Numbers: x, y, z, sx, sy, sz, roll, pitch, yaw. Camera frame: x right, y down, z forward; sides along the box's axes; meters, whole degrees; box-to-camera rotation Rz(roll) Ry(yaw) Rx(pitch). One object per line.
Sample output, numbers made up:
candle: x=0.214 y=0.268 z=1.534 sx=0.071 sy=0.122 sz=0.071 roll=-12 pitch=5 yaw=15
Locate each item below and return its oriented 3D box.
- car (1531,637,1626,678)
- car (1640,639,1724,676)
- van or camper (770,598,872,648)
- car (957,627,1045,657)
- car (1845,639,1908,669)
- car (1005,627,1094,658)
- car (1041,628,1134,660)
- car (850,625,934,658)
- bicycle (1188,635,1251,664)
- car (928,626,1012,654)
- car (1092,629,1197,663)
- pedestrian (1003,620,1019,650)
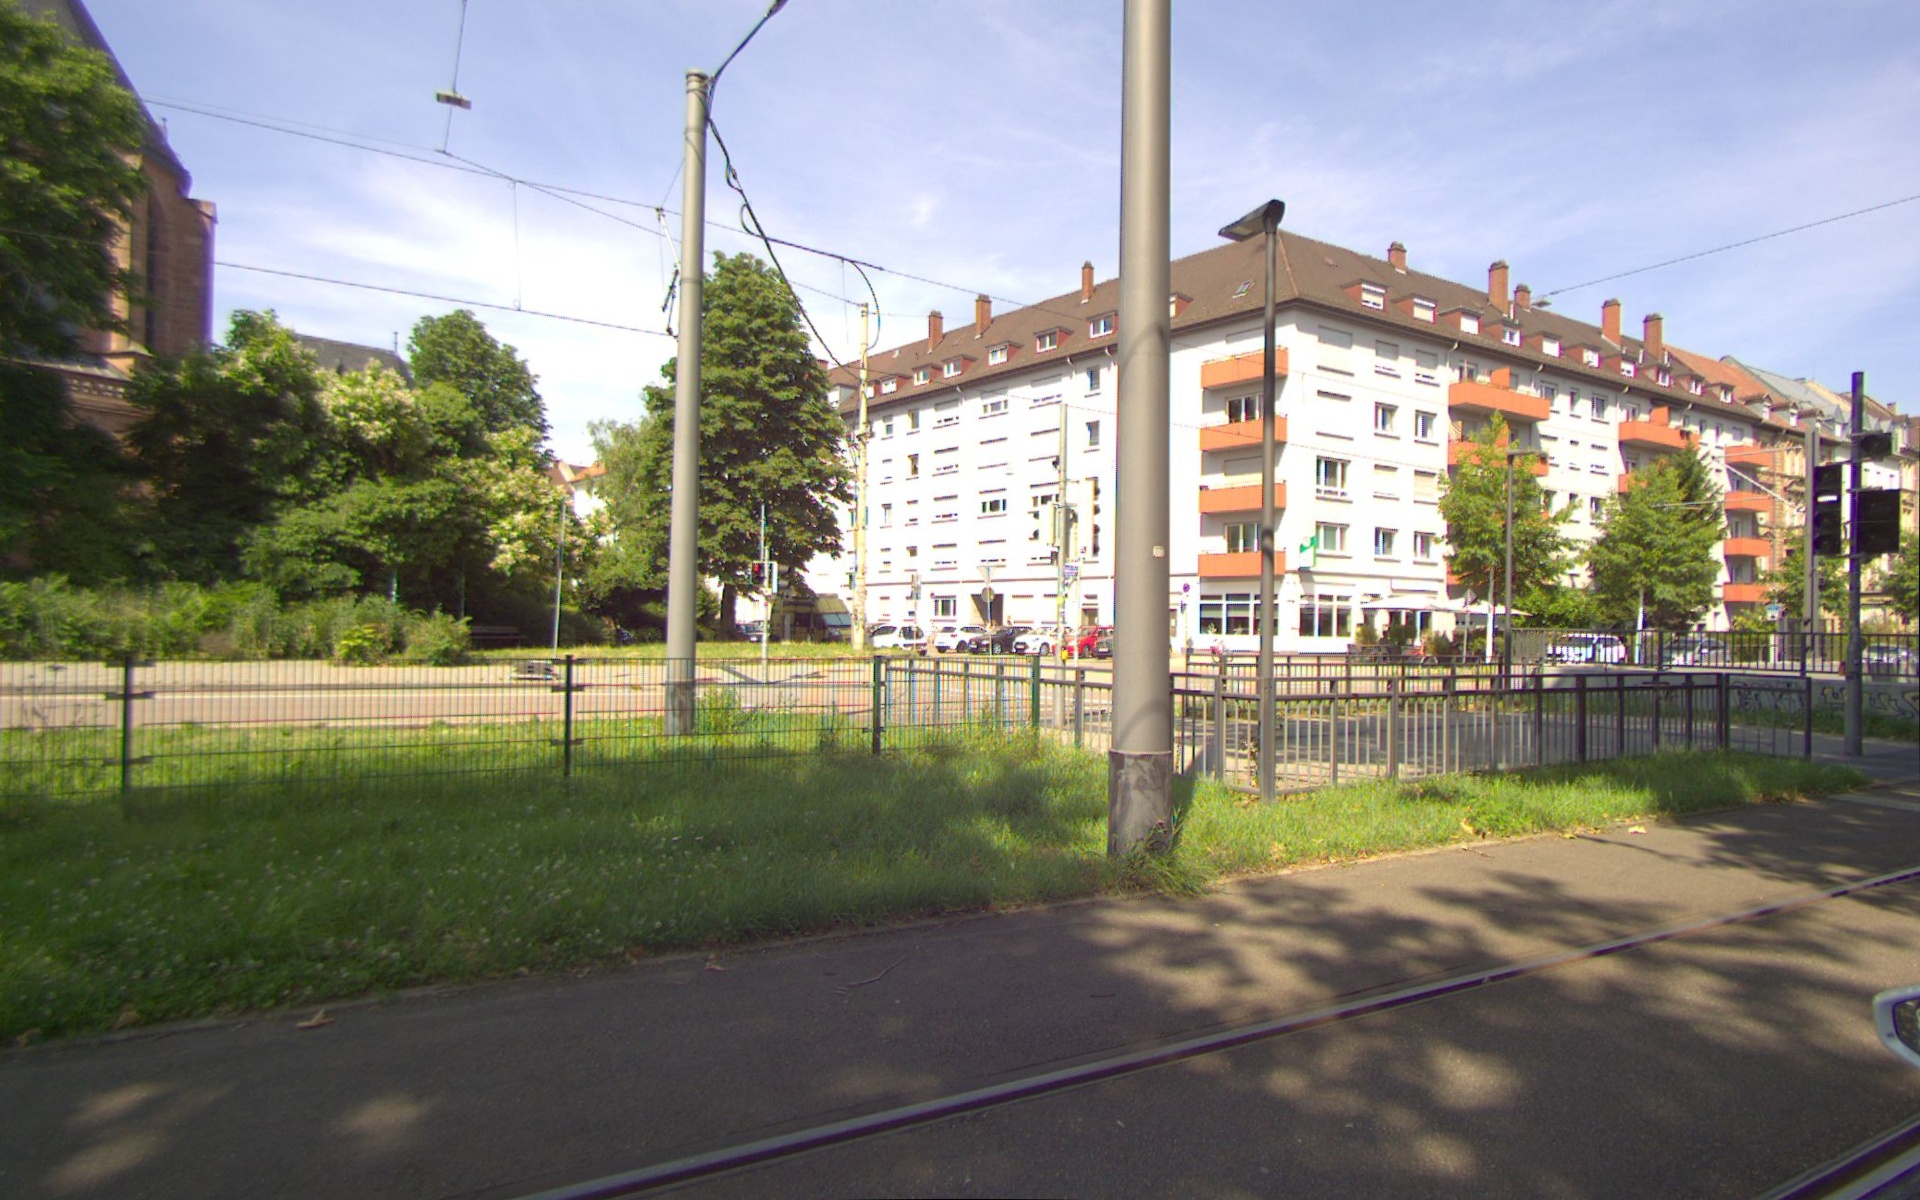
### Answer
car: x=23.932 y=2.210 z=38.822 sx=3.961 sy=1.518 sz=1.759 roll=2 pitch=-3 yaw=-36
car: x=30.993 y=2.448 z=43.118 sx=3.961 sy=1.518 sz=1.759 roll=2 pitch=-3 yaw=-36
van or camper: x=-6.978 y=1.119 z=49.965 sx=2.228 sy=2.360 sz=5.704 roll=2 pitch=-2 yaw=-42
car: x=2.069 y=2.101 z=50.180 sx=4.129 sy=1.425 sz=1.918 roll=2 pitch=-2 yaw=-38
car: x=49.348 y=2.865 z=54.067 sx=3.961 sy=1.518 sz=1.758 roll=2 pitch=-2 yaw=-36
car: x=4.355 y=2.054 z=48.610 sx=4.129 sy=1.425 sz=1.918 roll=2 pitch=-2 yaw=-38
car: x=5.892 y=2.019 z=46.290 sx=4.129 sy=1.425 sz=1.918 roll=2 pitch=-2 yaw=-38
car: x=-3.109 y=1.858 z=45.537 sx=3.702 sy=1.425 sz=1.823 roll=-1 pitch=-2 yaw=44
bicycle: x=10.808 y=2.074 z=41.816 sx=2.779 sy=1.152 sz=0.905 roll=2 pitch=-1 yaw=-34
car: x=0.540 y=2.083 z=52.485 sx=4.129 sy=1.425 sz=1.918 roll=2 pitch=-1 yaw=-38
car: x=8.052 y=1.995 z=43.690 sx=4.598 sy=1.394 sz=1.821 roll=2 pitch=-2 yaw=-36
pedestrian: x=2.788 y=1.895 z=54.634 sx=0.679 sy=1.593 sz=0.544 roll=0 pitch=-1 yaw=37
